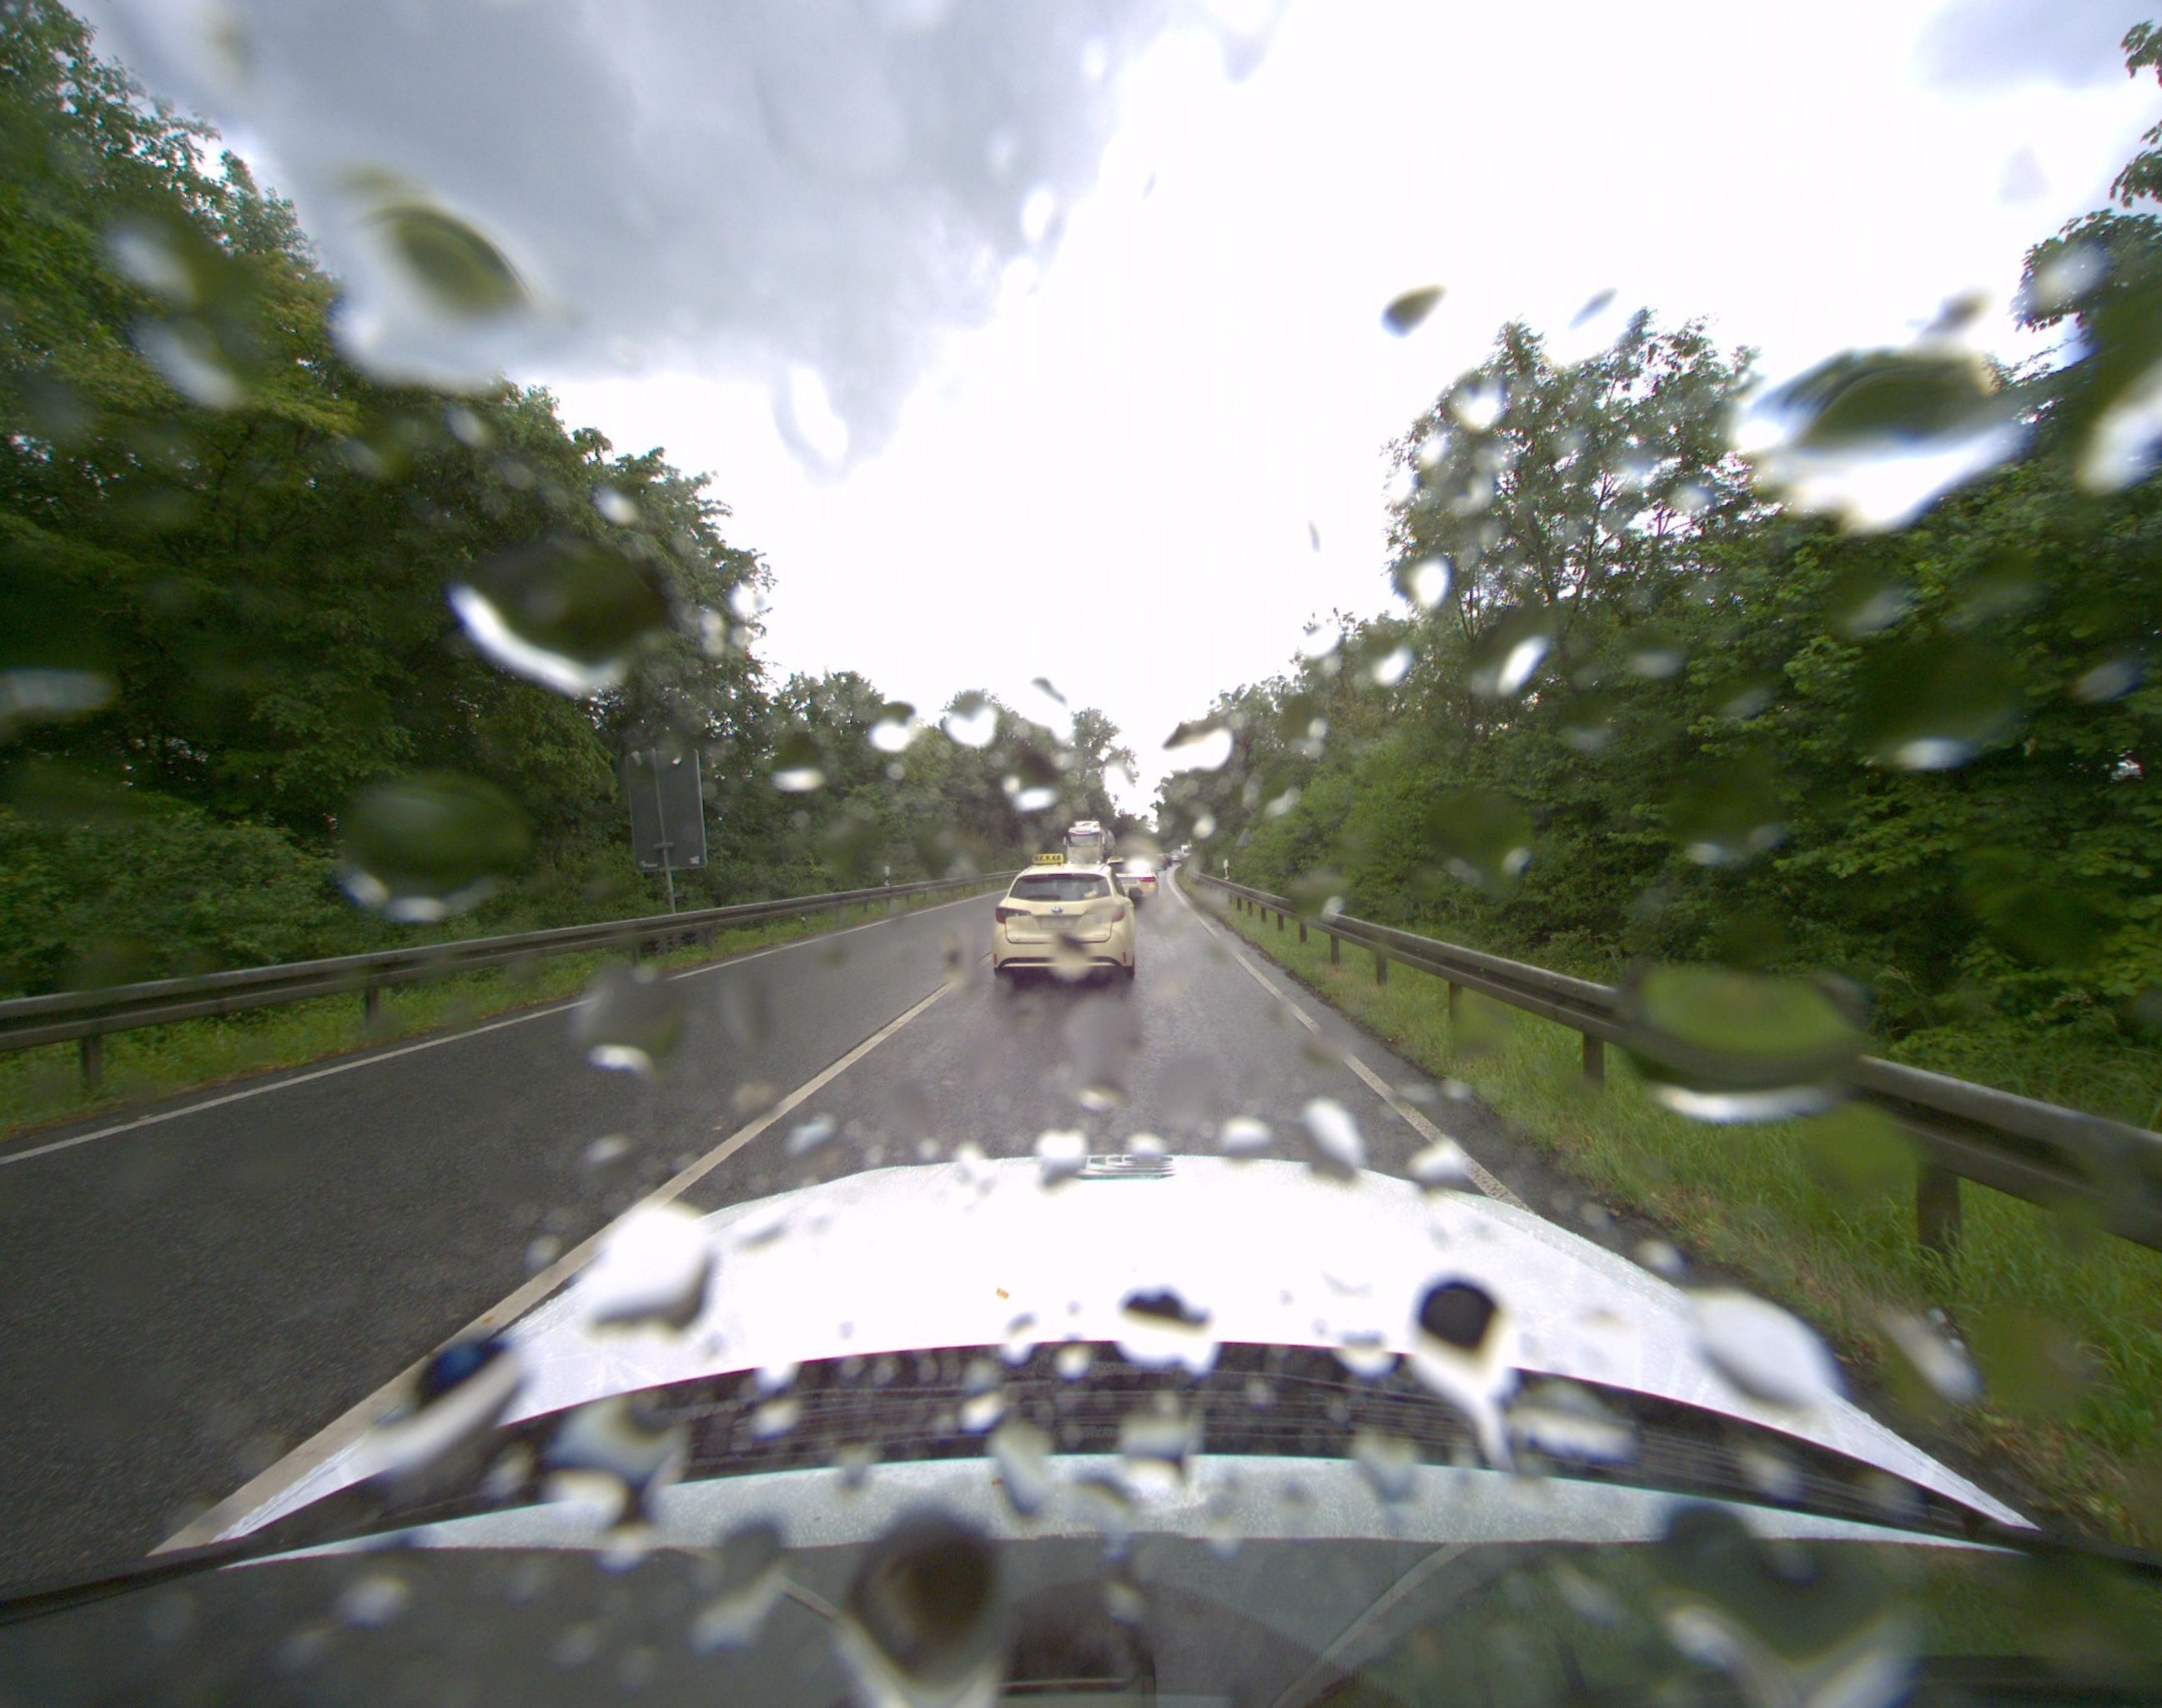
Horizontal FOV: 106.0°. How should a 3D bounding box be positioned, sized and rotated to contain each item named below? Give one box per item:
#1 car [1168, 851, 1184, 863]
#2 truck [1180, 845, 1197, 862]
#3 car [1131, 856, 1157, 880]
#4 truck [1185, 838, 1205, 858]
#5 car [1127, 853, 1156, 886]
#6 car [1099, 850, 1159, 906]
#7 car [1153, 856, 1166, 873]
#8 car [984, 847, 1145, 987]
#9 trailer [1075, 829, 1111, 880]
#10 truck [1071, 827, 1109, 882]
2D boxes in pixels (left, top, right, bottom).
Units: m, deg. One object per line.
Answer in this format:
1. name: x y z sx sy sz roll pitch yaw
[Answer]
1. car: 12.985 0.449 111.362 1.758 1.547 3.826 0 -1 12
2. truck: 17.619 -0.105 133.719 2.536 2.713 7.549 0 -1 7
3. car: 4.209 0.889 53.677 1.603 1.547 3.820 -1 0 5
4. truck: 21.556 -1.129 153.996 3.085 3.680 7.025 0 -1 13
5. car: 2.909 0.740 39.309 1.295 1.547 3.263 0 -1 4
6. car: 1.537 0.700 24.880 1.659 1.580 3.897 0 -1 5
7. car: 7.334 0.968 76.065 1.161 1.547 2.609 0 -1 7
8. car: -0.105 0.742 11.352 1.826 1.580 4.159 0 -1 2
9. trailer: 1.041 0.110 65.270 2.525 3.825 7.798 0 -1 3
10. truck: 0.719 0.050 59.902 2.526 3.825 5.248 0 -1 3
